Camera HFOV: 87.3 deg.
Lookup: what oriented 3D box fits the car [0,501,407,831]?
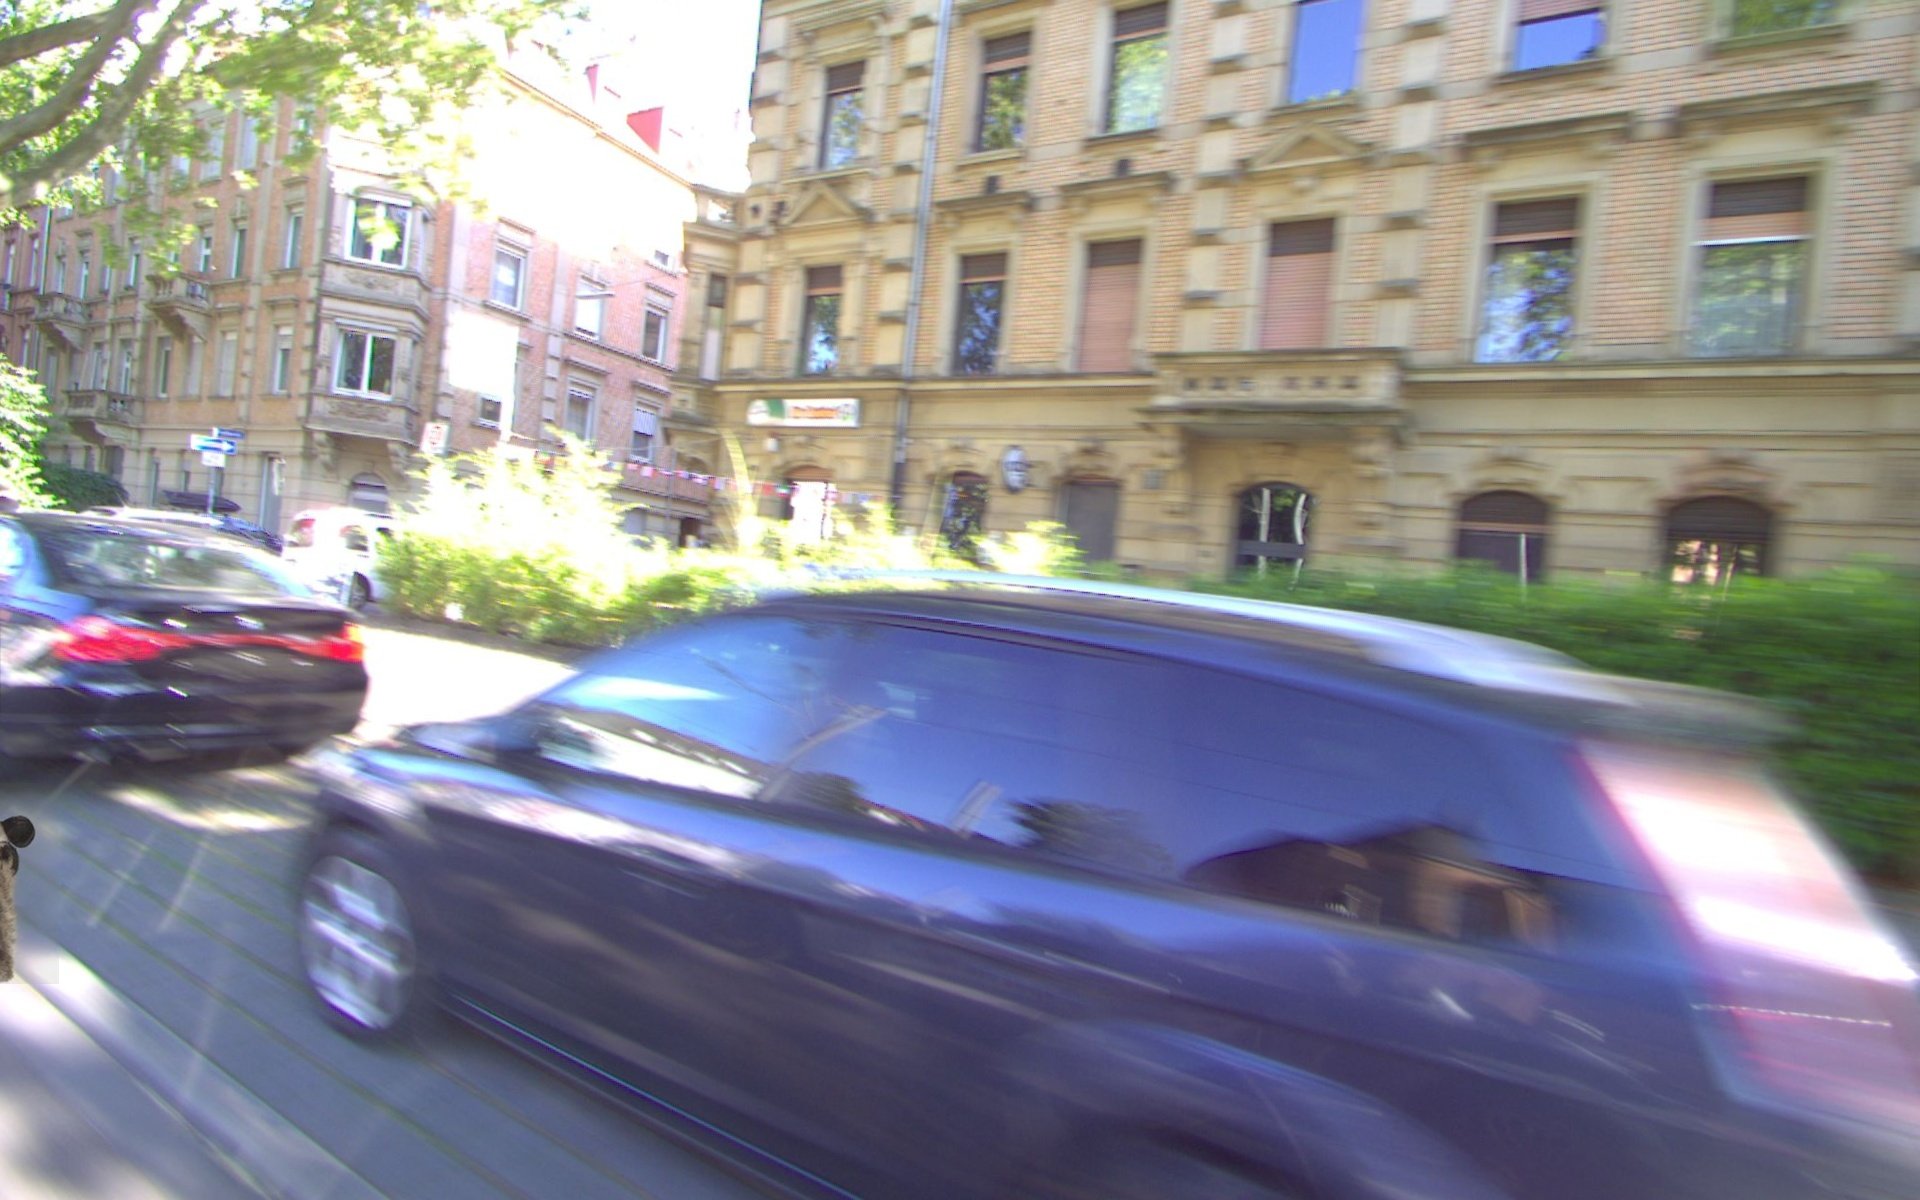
[{"bbox_3d":[-5.607,0.144,6.308,4.494,1.412,1.677,6,2,31],"label":"car"}]

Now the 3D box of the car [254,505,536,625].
[{"bbox_3d":[-11.231,-0.618,20.355,1.875,1.869,4.554,6,0,30],"label":"car"}]

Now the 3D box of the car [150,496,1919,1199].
[{"bbox_3d":[-0.359,0.653,2.968,4.645,1.536,1.676,6,2,32],"label":"car"}]

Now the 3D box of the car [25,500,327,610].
[{"bbox_3d":[-16.351,-0.869,21.286,1.875,1.556,4.561,6,-3,28],"label":"car"}]

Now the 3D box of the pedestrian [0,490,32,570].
[{"bbox_3d":[-19.543,-1.440,20.606,0.597,1.570,0.540,9,3,29],"label":"pedestrian"}]

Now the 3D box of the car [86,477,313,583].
[{"bbox_3d":[-18.965,-1.680,25.275,1.965,2.040,3.992,10,3,28],"label":"car"}]
